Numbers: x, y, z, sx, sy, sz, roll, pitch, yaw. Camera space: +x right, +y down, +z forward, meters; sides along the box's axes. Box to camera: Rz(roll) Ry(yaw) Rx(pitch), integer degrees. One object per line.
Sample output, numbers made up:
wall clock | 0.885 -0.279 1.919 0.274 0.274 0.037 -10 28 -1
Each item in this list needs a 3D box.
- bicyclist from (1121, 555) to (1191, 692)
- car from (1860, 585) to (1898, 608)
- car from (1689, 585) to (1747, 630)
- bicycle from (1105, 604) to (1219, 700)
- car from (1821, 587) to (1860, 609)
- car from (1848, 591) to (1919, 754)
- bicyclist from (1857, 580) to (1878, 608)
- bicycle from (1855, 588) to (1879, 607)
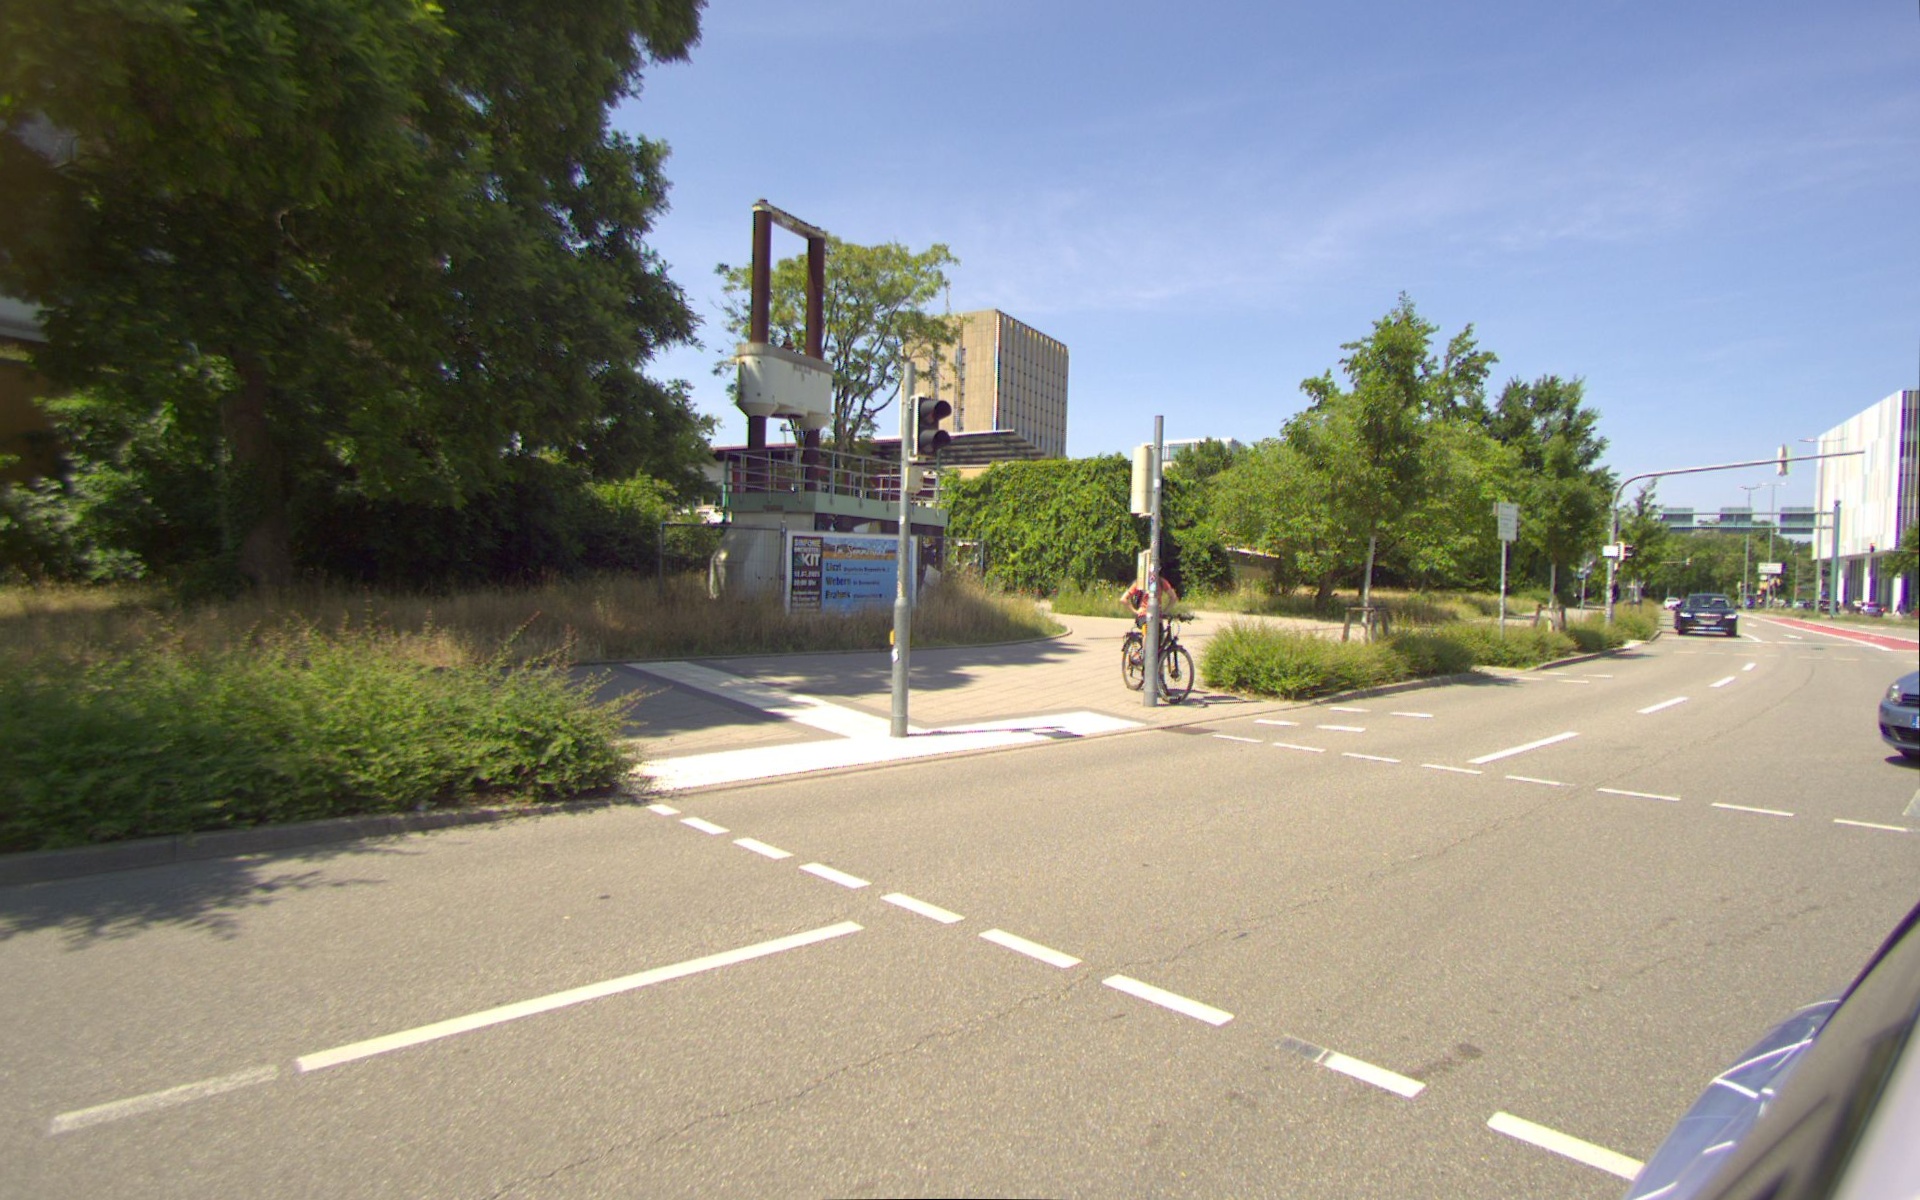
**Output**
bicyclist | 2.571 0.297 13.347 0.540 1.737 0.705 3 1 -17
car | 75.976 -0.247 83.734 1.770 1.705 3.949 2 0 35
car | 29.960 0.332 40.003 1.700 1.606 4.493 2 0 37
bicycle | 2.593 0.640 13.236 0.547 1.058 2.002 3 2 -17
car | 73.919 -0.129 85.020 1.764 1.689 3.955 2 0 31
car | 10.450 0.681 8.920 3.912 1.432 1.837 1 1 -9
bicyclist | 62.009 -0.405 69.136 0.701 1.911 1.129 2 -1 23
bicycle | 61.924 -0.170 69.132 0.515 1.252 2.174 2 0 24
